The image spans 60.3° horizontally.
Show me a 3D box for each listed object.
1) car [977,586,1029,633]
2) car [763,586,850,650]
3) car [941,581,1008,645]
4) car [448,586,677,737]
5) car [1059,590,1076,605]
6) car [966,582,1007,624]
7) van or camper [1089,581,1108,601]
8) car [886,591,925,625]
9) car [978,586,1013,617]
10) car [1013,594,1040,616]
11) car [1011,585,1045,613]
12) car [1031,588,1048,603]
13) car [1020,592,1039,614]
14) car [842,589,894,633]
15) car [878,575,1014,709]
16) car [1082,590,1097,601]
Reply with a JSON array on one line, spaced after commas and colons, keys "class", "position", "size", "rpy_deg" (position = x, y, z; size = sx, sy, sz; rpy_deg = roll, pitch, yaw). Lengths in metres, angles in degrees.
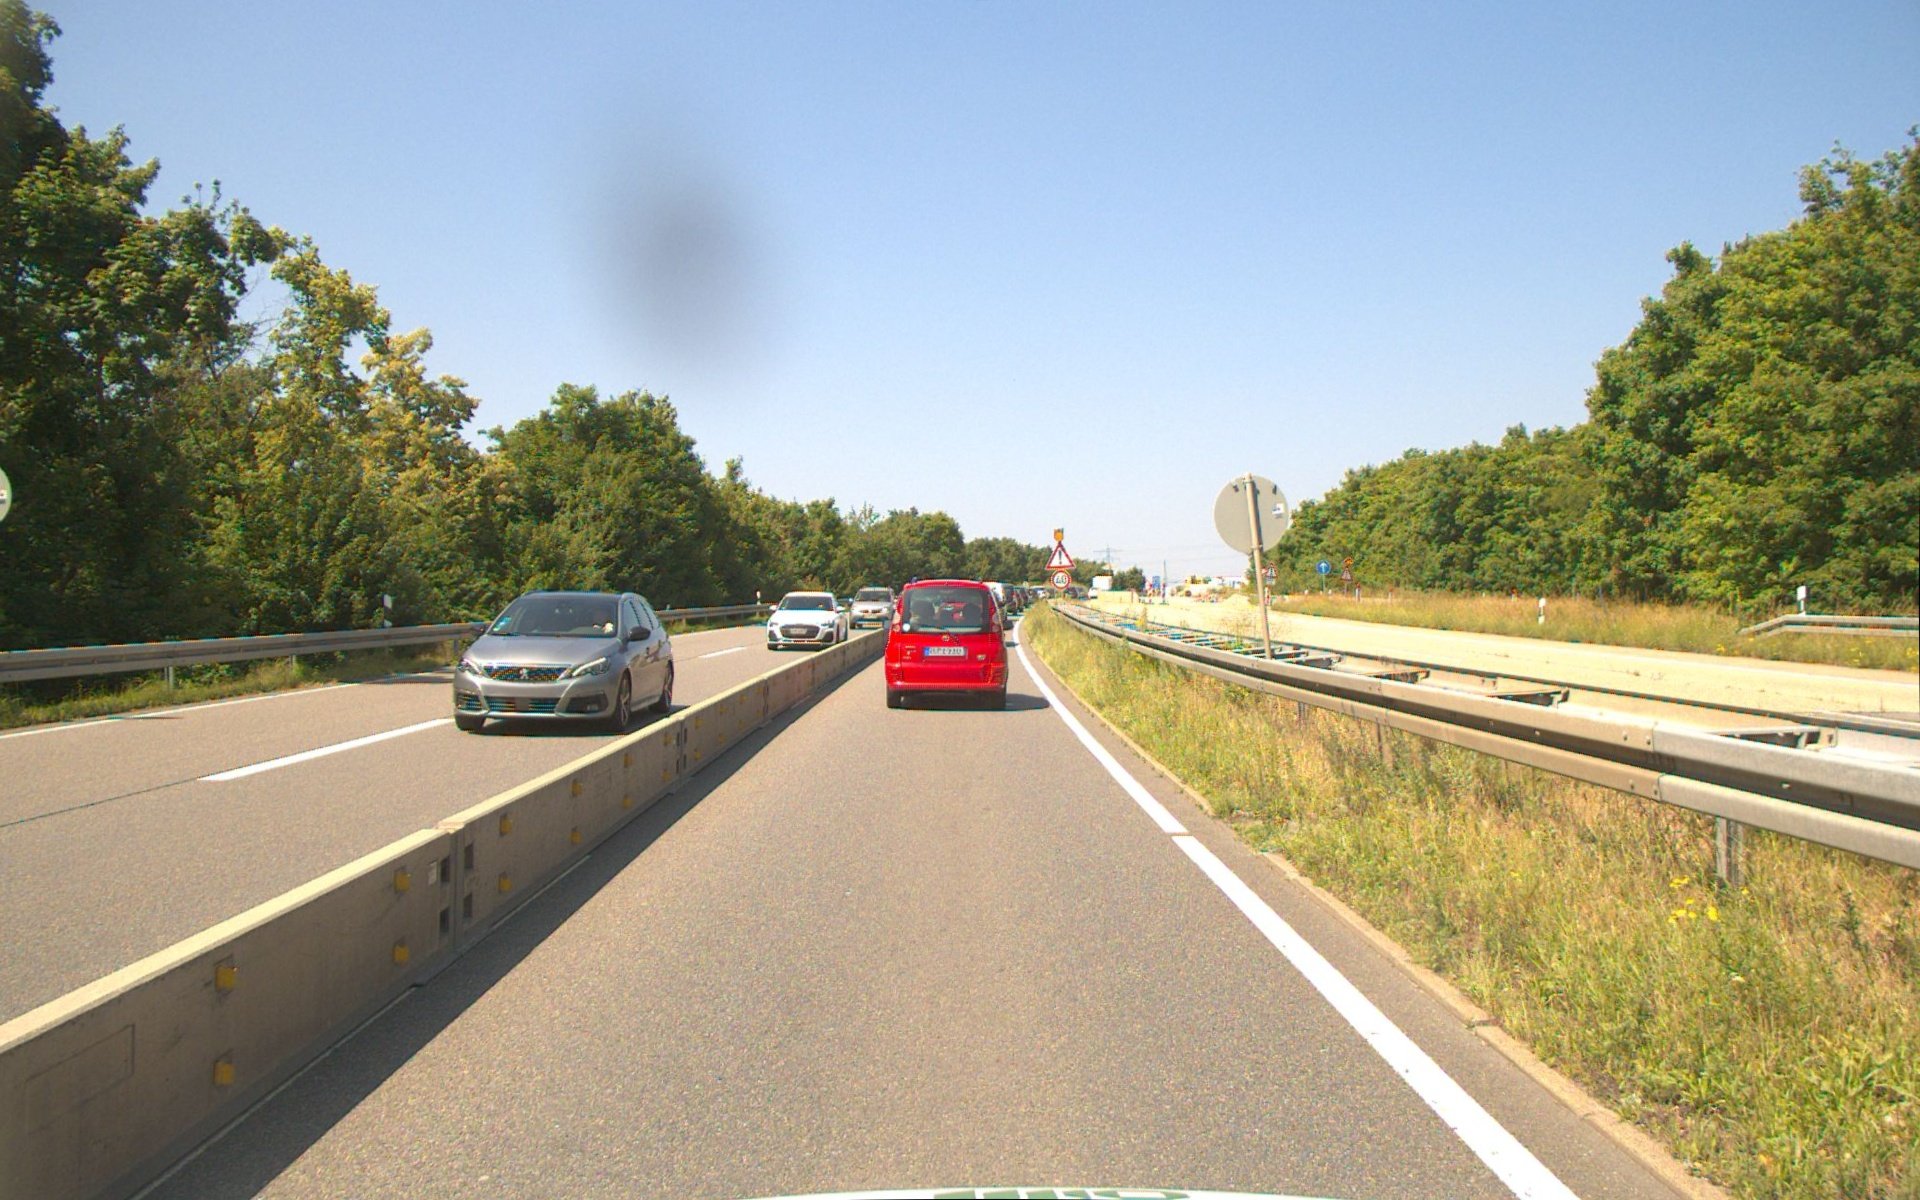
[{"class": "car", "position": [1.737, 0.371, 68.083], "size": [1.953, 1.870, 3.999], "rpy_deg": [0, 0, -1]}, {"class": "car", "position": [-3.905, 0.443, 42.711], "size": [1.909, 1.565, 4.435], "rpy_deg": [0, 0, -1]}, {"class": "car", "position": [0.377, 0.352, 47.444], "size": [1.793, 1.752, 3.999], "rpy_deg": [0, 0, -2]}, {"class": "car", "position": [-4.390, 0.622, 18.920], "size": [1.690, 1.522, 4.387], "rpy_deg": [0, 0, -2]}, {"class": "car", "position": [12.307, -0.295, 189.841], "size": [1.952, 1.579, 4.002], "rpy_deg": [1, 0, 3]}, {"class": "car", "position": [1.297, 0.130, 81.267], "size": [1.952, 2.038, 4.000], "rpy_deg": [0, 0, 1]}, {"class": "van or camper", "position": [19.723, -1.312, 235.820], "size": [2.280, 2.754, 4.594], "rpy_deg": [0, 0, 1]}, {"class": "car", "position": [-2.707, 0.392, 82.786], "size": [1.909, 1.606, 4.434], "rpy_deg": [0, 0, -2]}, {"class": "car", "position": [2.018, 0.076, 95.590], "size": [1.953, 1.780, 4.000], "rpy_deg": [0, 0, 0]}, {"class": "car", "position": [4.914, 0.356, 122.735], "size": [1.952, 1.613, 4.000], "rpy_deg": [0, 0, 1]}, {"class": "car", "position": [4.417, -0.054, 107.752], "size": [1.953, 1.814, 3.999], "rpy_deg": [0, 0, -1]}, {"class": "car", "position": [7.240, -0.399, 149.908], "size": [1.391, 1.321, 2.881], "rpy_deg": [0, 1, 6]}, {"class": "car", "position": [5.743, 0.267, 137.200], "size": [1.470, 1.767, 3.171], "rpy_deg": [1, 0, 4]}, {"class": "car", "position": [-3.504, 0.422, 63.704], "size": [1.791, 1.658, 3.784], "rpy_deg": [0, 0, 0]}, {"class": "car", "position": [-0.223, 0.526, 23.067], "size": [1.716, 1.702, 3.999], "rpy_deg": [0, 0, -1]}, {"class": "car", "position": [17.522, -0.619, 223.821], "size": [1.952, 1.512, 4.001], "rpy_deg": [0, 0, 2]}]
